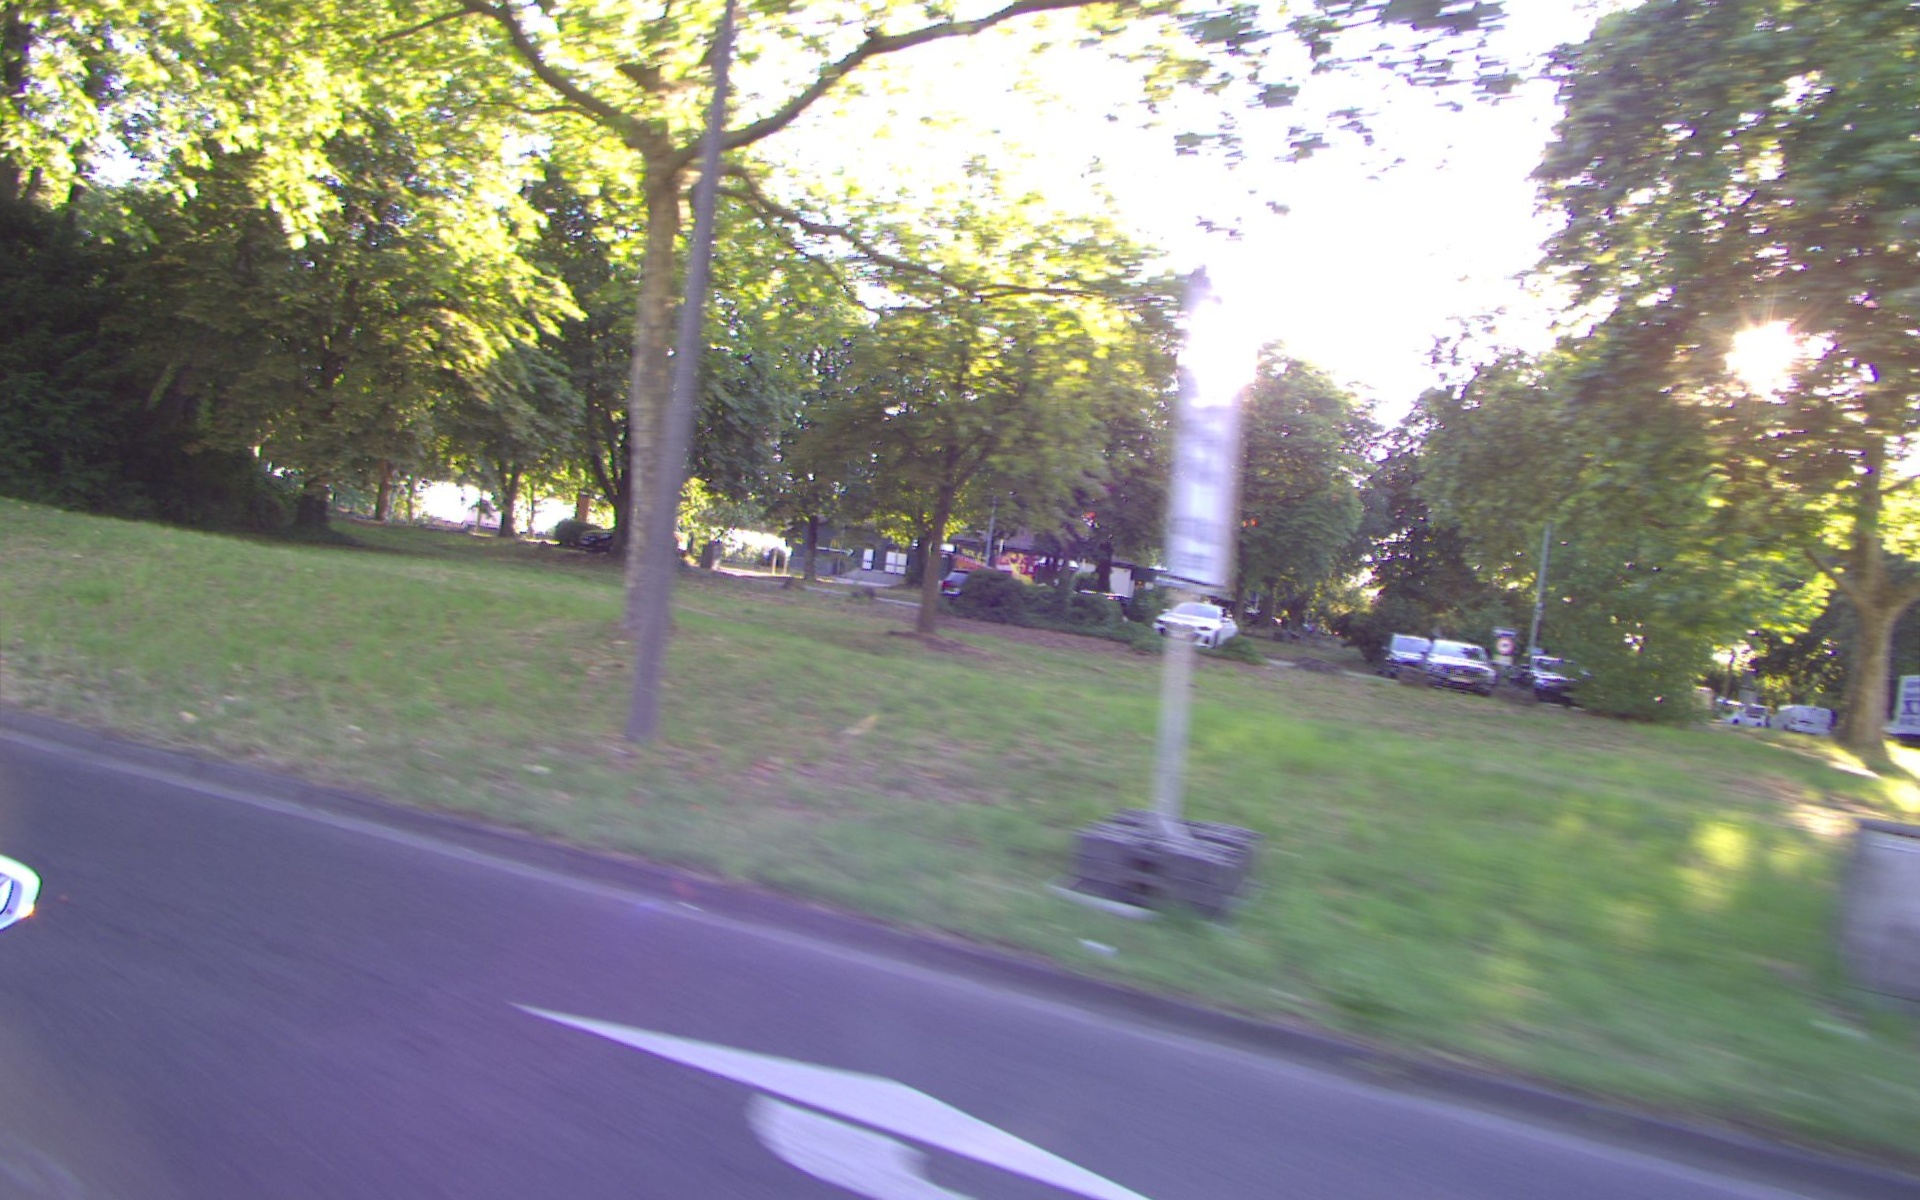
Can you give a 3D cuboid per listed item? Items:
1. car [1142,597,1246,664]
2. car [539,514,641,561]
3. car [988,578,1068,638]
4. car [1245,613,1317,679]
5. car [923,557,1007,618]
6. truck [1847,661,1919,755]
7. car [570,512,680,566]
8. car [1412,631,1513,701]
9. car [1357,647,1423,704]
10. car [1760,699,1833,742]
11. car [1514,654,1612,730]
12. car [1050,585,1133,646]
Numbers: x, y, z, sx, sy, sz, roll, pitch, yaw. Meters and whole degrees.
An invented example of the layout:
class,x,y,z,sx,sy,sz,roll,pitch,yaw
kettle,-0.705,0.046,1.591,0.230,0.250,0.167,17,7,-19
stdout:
class,x,y,z,sx,sy,sz,roll,pitch,yaw
car,7.440,0.996,31.581,1.965,1.728,4.894,7,0,26
car,-17.005,-2.855,46.351,1.780,1.571,3.987,7,0,36
car,2.386,0.324,34.281,1.793,1.709,4.226,7,0,15
car,10.097,1.449,31.502,1.649,1.751,3.500,7,0,23
car,0.249,-0.358,34.202,1.793,1.709,4.227,7,0,13
truck,42.740,4.812,43.354,3.137,3.924,11.091,7,0,24
car,-13.406,-2.421,40.506,1.776,1.571,3.995,7,0,27
car,14.223,1.833,28.726,2.006,1.593,4.400,7,0,21
car,15.771,2.748,36.817,1.651,1.751,3.496,7,0,30
car,48.450,6.935,58.364,1.673,1.931,4.864,7,0,22
car,16.565,2.469,27.783,1.649,1.751,3.500,7,0,23
car,4.439,0.572,33.372,1.793,1.709,4.225,7,0,18
